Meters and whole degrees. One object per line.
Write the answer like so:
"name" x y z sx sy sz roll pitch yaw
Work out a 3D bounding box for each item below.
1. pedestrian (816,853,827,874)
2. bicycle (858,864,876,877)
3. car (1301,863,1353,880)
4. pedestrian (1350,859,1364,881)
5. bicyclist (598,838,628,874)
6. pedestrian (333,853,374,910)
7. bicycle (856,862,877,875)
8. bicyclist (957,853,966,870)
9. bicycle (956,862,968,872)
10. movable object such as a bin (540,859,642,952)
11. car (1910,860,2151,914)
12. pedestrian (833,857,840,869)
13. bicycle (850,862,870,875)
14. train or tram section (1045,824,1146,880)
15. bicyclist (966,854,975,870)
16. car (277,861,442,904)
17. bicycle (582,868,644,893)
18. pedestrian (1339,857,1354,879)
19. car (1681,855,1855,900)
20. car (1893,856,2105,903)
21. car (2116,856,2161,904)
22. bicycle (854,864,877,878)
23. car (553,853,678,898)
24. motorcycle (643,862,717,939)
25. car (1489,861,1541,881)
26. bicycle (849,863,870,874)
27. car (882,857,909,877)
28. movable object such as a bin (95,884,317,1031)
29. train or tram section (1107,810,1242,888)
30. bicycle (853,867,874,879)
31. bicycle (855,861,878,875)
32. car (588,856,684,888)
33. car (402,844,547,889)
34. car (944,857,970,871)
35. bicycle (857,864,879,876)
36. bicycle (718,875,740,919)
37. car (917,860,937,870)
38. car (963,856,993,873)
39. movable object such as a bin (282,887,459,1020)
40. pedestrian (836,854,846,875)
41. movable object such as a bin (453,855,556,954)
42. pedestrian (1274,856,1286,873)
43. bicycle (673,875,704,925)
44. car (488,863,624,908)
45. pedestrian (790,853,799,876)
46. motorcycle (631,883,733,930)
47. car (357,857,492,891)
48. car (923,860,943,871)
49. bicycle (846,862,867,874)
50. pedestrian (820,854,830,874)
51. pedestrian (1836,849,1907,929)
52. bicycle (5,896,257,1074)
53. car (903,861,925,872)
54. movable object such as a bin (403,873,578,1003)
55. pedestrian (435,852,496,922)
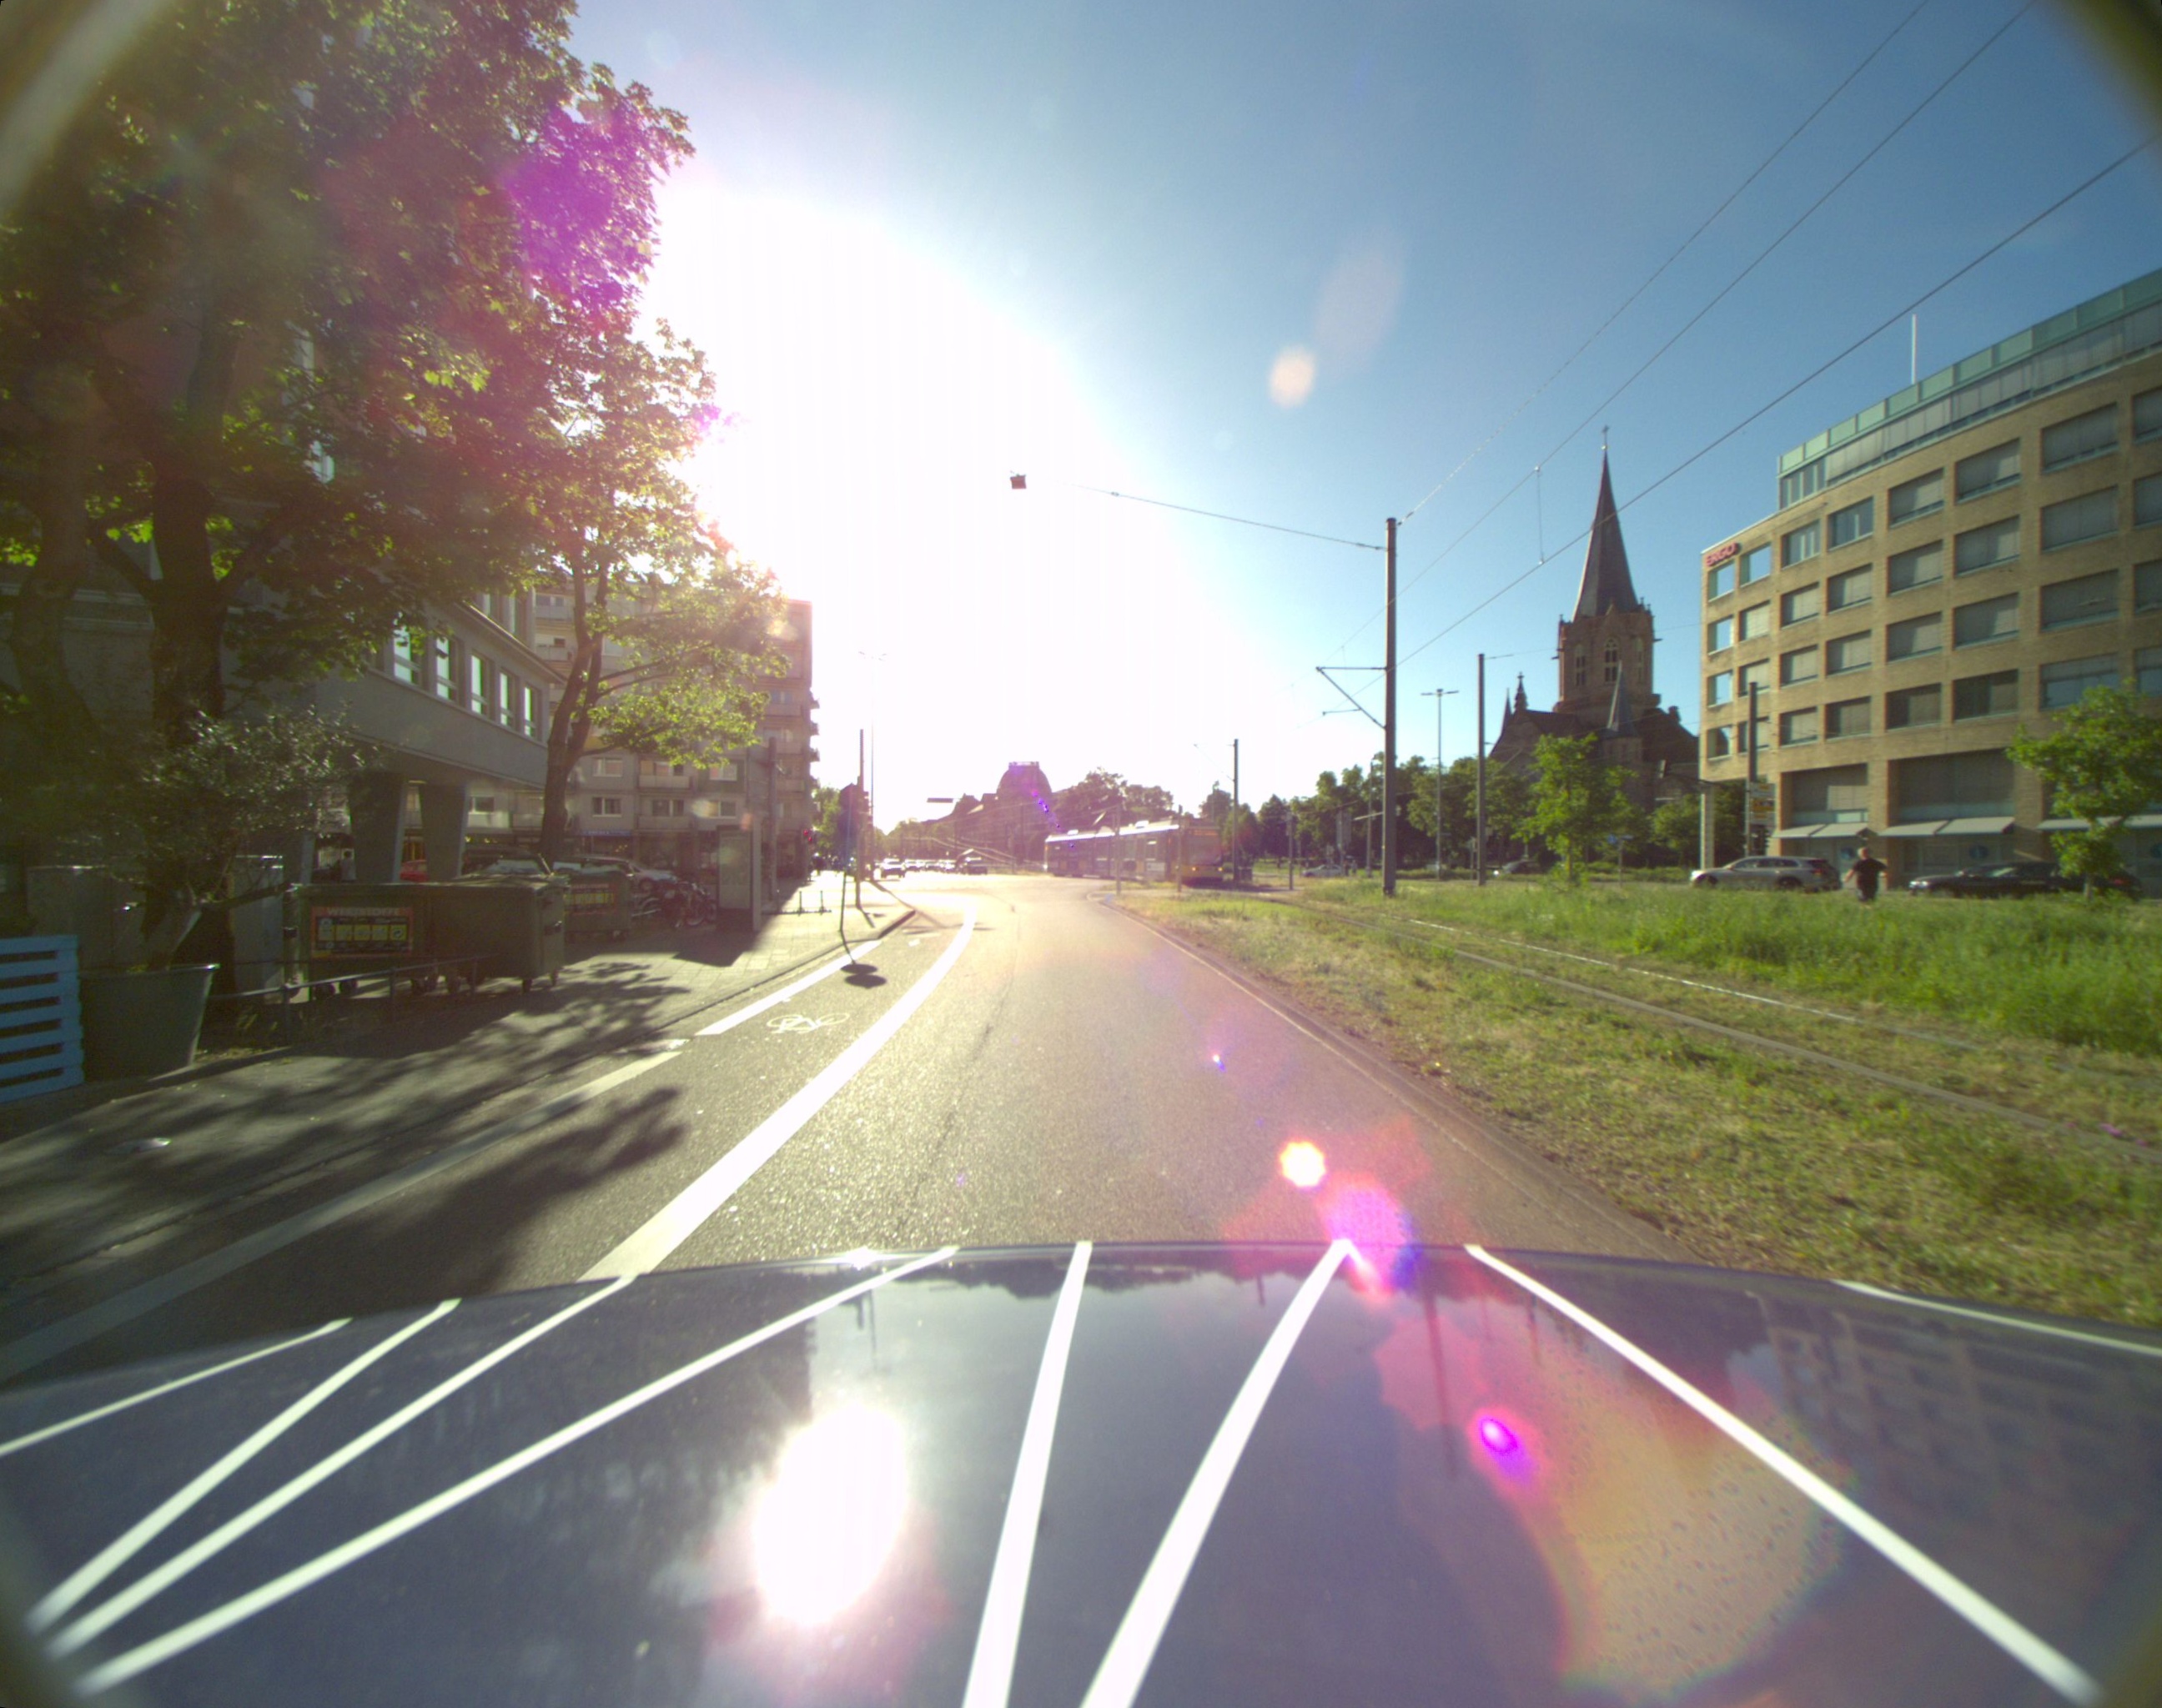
"pedestrian" -23.082 0.823 67.596 0.867 1.824 1.209 -1 0 -21
"bicycle" -17.767 1.357 63.138 1.435 1.005 0.410 1 1 -19
"car" 24.563 1.770 75.968 4.707 1.565 1.770 -1 1 8
"pedestrian" 26.110 1.509 71.894 0.880 2.002 0.923 -2 2 -19
"bicyclist" -20.683 0.083 33.622 0.936 1.551 0.939 -2 2 -22
"pedestrian" -23.552 0.868 24.601 0.897 1.769 0.859 0 2 43
"bicycle" -18.422 1.238 65.245 1.757 1.093 0.398 0 1 -22
"bicyclist" -12.207 0.793 77.737 0.705 1.720 0.852 -2 2 -25
"bicycle" -12.202 1.359 77.768 0.632 0.934 1.902 -2 1 -25
"movable object such as a bin" -9.171 0.927 14.290 1.386 1.630 1.006 -1 1 -21
"car" 31.413 1.013 25.363 2.002 1.508 4.653 -2 1 -21
"pedestrian" -32.415 1.181 100.912 0.773 1.641 0.671 -1 0 -8
"bicycle" -20.567 1.364 70.770 1.785 1.222 0.414 0 1 -25
"train or tram section" 0.689 -0.088 56.080 2.961 3.591 13.612 -1 0 -19
"bicyclist" -11.378 0.802 78.058 0.695 1.650 0.918 -2 2 -20
"car" -27.052 1.027 28.672 4.168 1.419 1.573 -1 2 -22
"bicycle" -20.685 1.154 33.639 2.150 0.995 0.859 -2 1 -22
"pedestrian" 24.984 1.308 71.525 0.880 2.002 0.923 -2 2 -19
"car" 29.003 0.932 32.316 2.109 1.724 5.076 -1 0 -22
"car" 37.784 0.957 31.516 2.126 1.658 5.201 -2 1 -20
"car" 35.519 0.832 22.722 2.001 1.439 5.011 -2 1 -17
"bicycle" -18.760 1.465 66.079 1.821 1.076 0.530 -2 2 -23
"car" -21.693 0.972 35.645 4.606 1.840 1.943 -2 1 -20
"motorcycle" -8.804 0.959 16.815 0.805 1.530 2.542 -2 0 -13
"car" 38.937 1.483 68.205 3.946 1.565 1.835 -2 1 -18
"bicycle" -20.986 1.339 71.942 1.826 1.054 0.414 0 1 -25
"car" -16.831 1.151 68.791 1.905 1.677 4.111 -1 0 -20
"movable object such as a bin" -9.452 1.069 8.295 1.217 1.383 0.958 -2 1 -18
"train or tram section" 4.730 -0.198 42.616 2.960 3.663 13.168 -1 0 -14
"bicycle" -19.202 1.670 67.023 1.777 1.049 0.414 1 0 -21
"bicycle" -18.304 1.181 64.842 1.759 1.070 0.405 -2 2 -22
"car" -22.833 0.917 39.177 4.004 1.432 1.845 -2 1 -21
"car" -30.805 0.631 38.785 5.258 2.186 2.374 0 0 -16
"car" -13.544 1.056 82.974 2.002 1.421 4.125 -2 1 -20
"bicycle" -17.988 1.335 64.188 1.707 1.005 0.410 1 0 -23
"bicycle" -10.130 1.204 21.890 0.477 1.110 2.115 -2 1 -23
"car" -21.444 1.555 105.746 1.990 1.284 4.319 -1 0 -20
"car" -10.003 0.997 73.422 2.002 1.528 4.348 -2 1 -20
"movable object such as a bin" -8.206 1.105 8.853 1.177 1.348 0.926 -2 1 -18
"pedestrian" -20.560 0.863 65.038 0.792 1.766 0.873 -1 0 -21
"movable object such as a bin" -10.496 0.881 13.896 1.261 1.699 0.943 0 1 -21
"pedestrian" 23.107 1.215 88.364 0.846 1.836 1.113 -2 2 -22
"bicycle" -10.879 1.251 21.100 0.534 1.237 1.844 -2 1 -21
"car" -21.042 1.234 30.669 4.167 1.494 1.841 -2 3 -22
"pedestrian" -22.051 0.813 58.465 0.569 1.763 0.663 -1 0 -13
"motorcycle" -9.772 1.280 18.721 2.105 1.016 0.761 -2 1 -19
"car" -30.393 0.909 35.350 4.386 1.526 1.824 0 0 -17
"car" -19.055 1.465 97.848 1.861 1.284 4.088 -1 0 -20
"bicycle" -21.556 1.336 72.915 1.826 1.167 0.702 0 1 -24
"pedestrian" -23.641 0.932 70.230 0.792 1.875 0.874 -1 0 -13
"pedestrian" 16.757 0.722 16.123 0.735 1.661 0.745 0 0 7
"bicycle" -8.211 1.031 6.559 2.163 1.243 0.901 0 0 26
"car" -20.424 1.456 92.786 1.990 1.284 4.385 -1 0 -20
"movable object such as a bin" -6.909 0.953 8.963 1.284 1.383 0.921 -2 1 -2
"pedestrian" -16.696 0.884 20.627 0.828 1.834 0.891 -2 1 2
